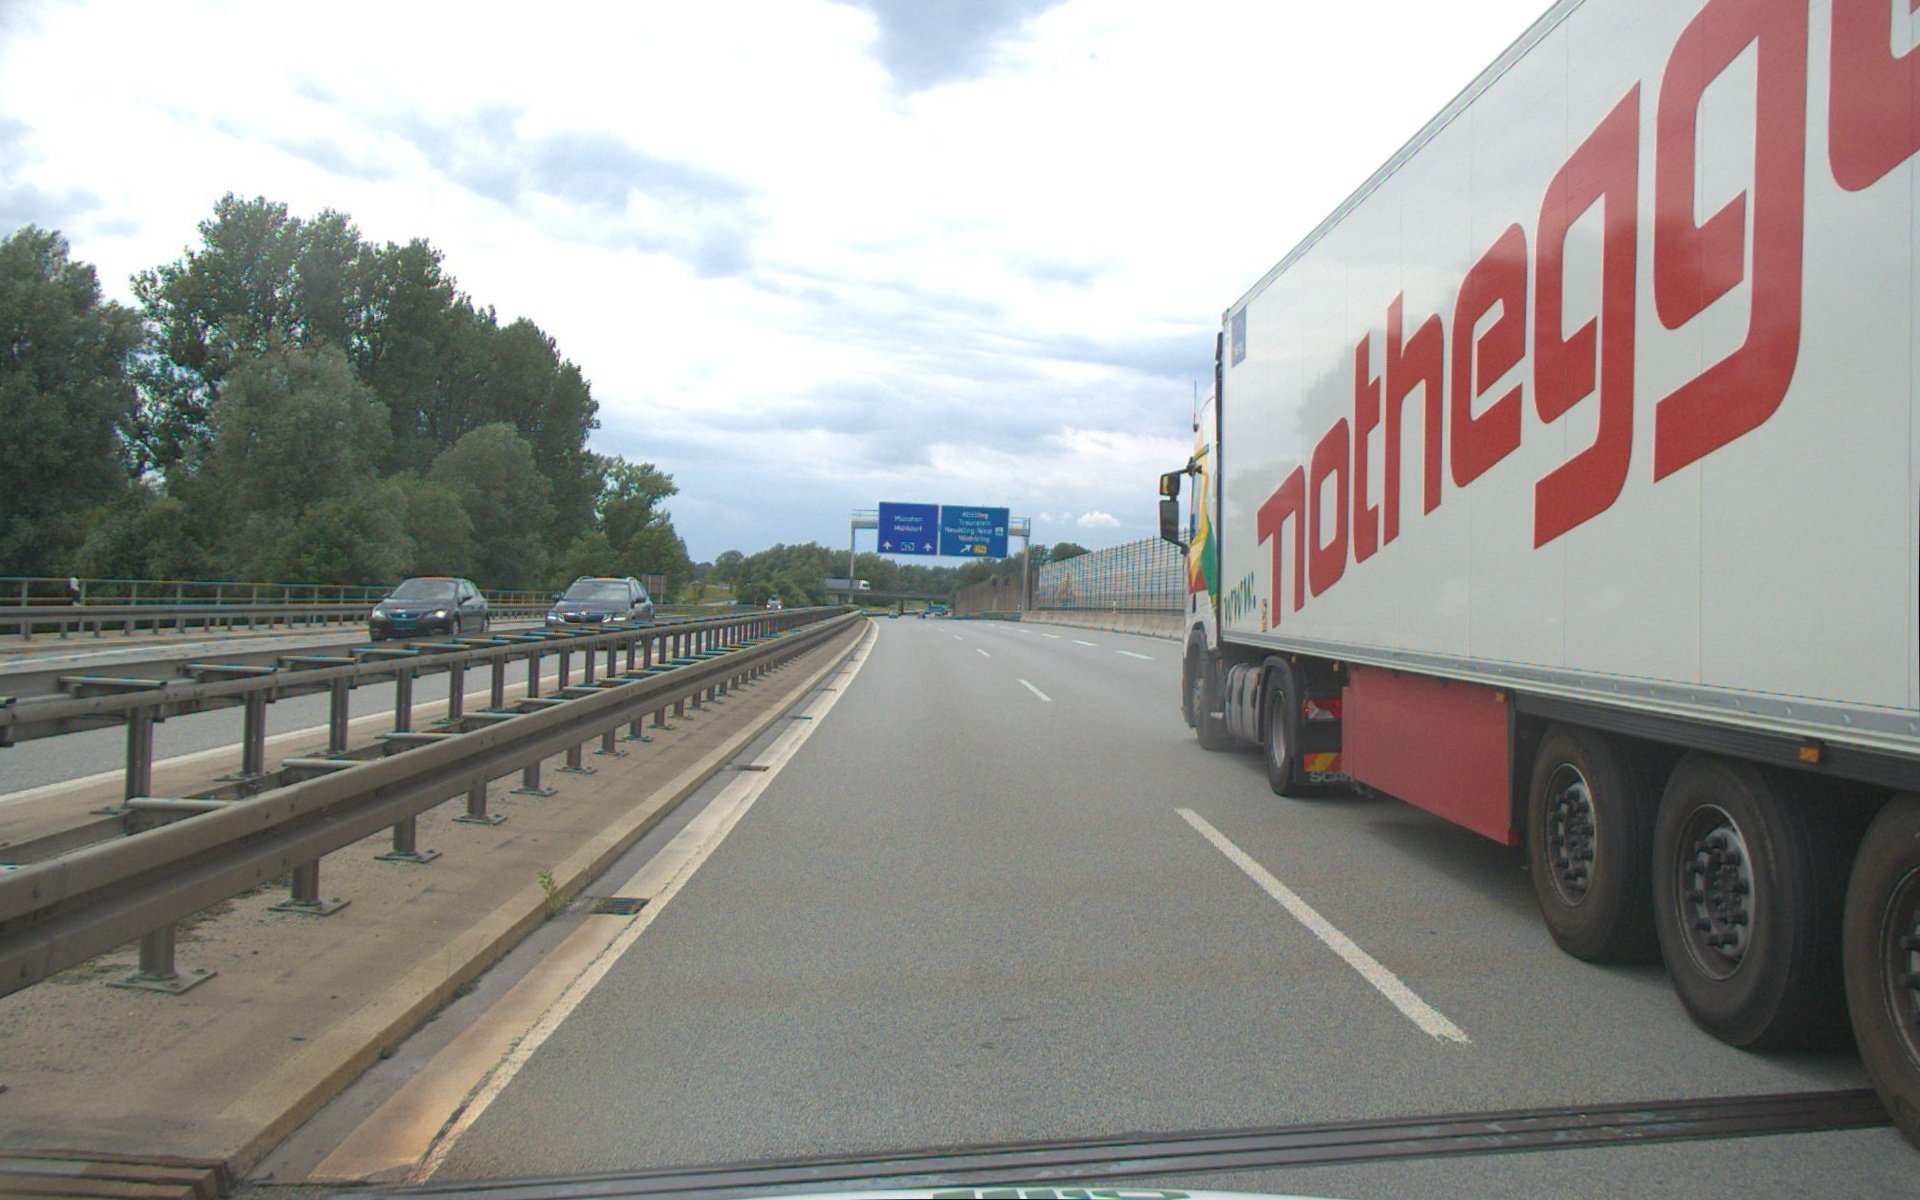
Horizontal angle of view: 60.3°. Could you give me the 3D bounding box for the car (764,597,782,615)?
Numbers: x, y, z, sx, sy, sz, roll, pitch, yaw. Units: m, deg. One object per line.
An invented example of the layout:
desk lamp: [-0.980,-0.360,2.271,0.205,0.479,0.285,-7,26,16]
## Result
car: [-22.284,0.775,197.451,1.954,2.037,4.739,1,-1,-5]

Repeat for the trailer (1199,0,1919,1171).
trailer: [3.766,-0.657,8.413,2.736,4.247,14.099,0,0,-1]

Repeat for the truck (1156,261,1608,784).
truck: [3.609,-0.606,15.650,2.700,4.029,5.675,0,0,-1]

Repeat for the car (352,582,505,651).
car: [-11.588,0.328,36.385,1.930,1.428,4.708,0,0,-1]

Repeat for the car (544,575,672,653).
car: [-7.404,0.266,35.249,1.804,1.557,4.834,0,0,-1]
